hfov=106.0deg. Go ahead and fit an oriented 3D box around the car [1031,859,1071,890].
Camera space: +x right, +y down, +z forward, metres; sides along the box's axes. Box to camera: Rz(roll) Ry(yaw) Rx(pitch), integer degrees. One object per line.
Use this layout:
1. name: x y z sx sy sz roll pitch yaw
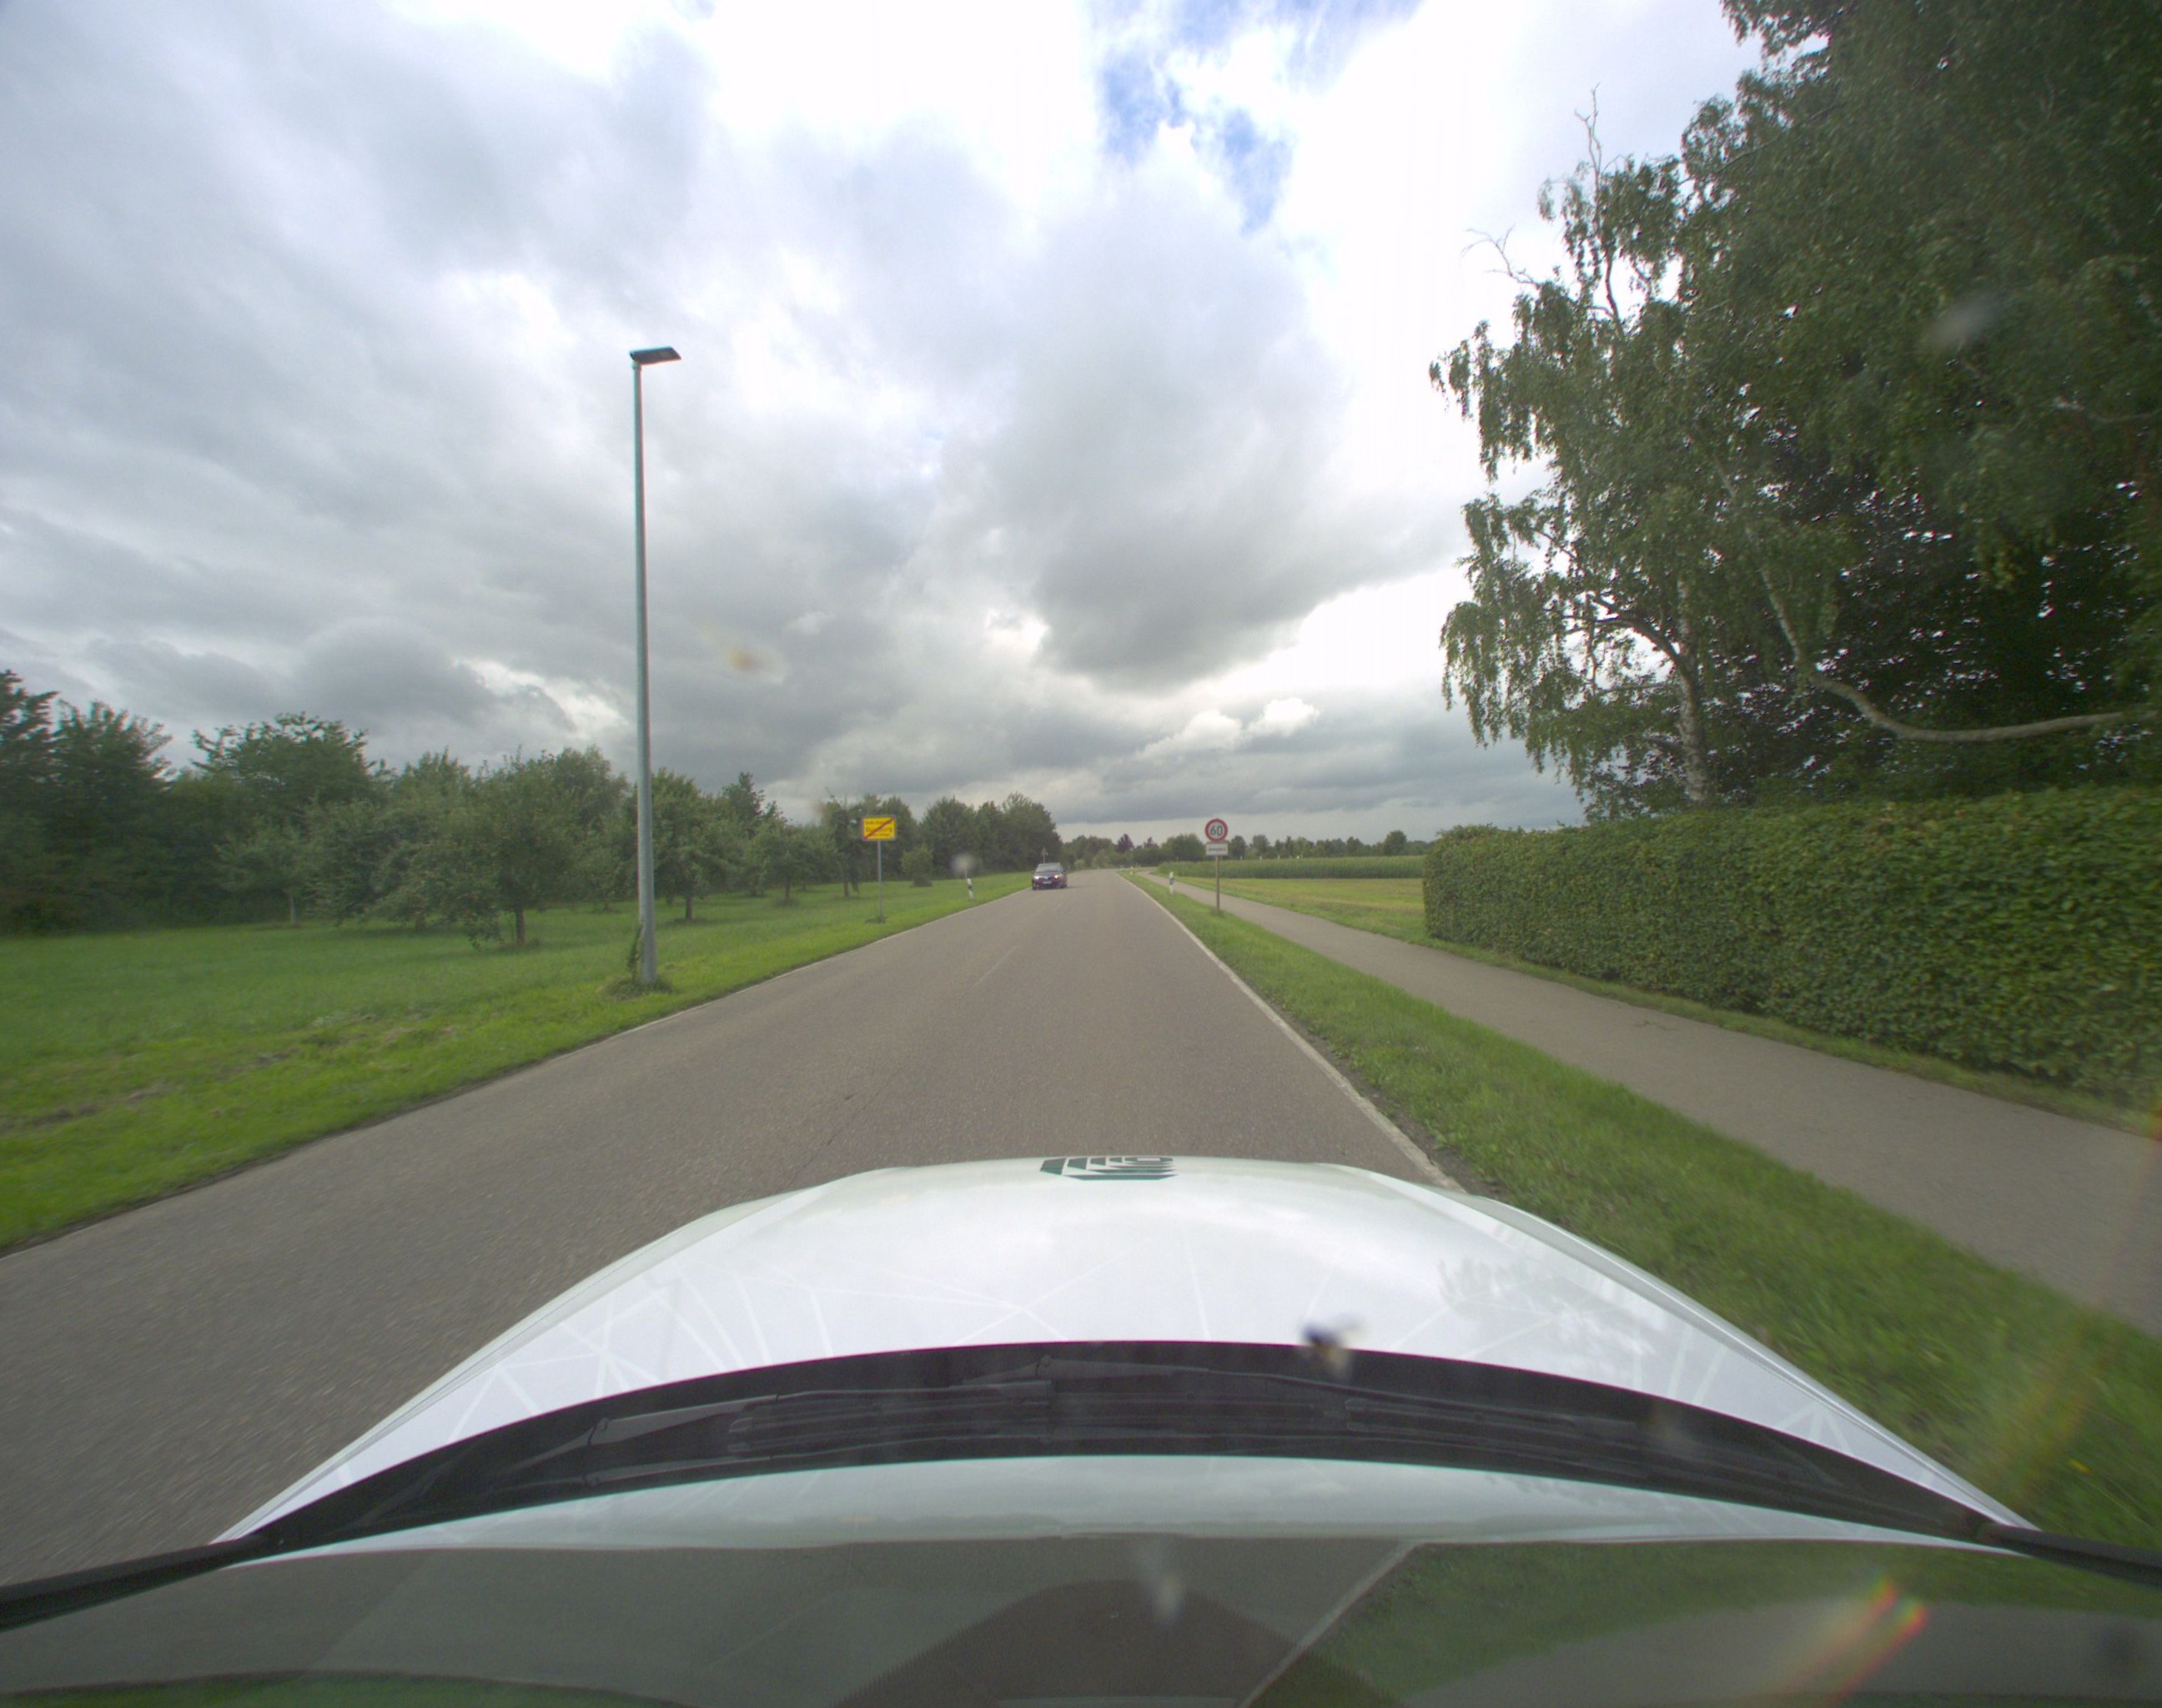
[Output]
1. car: -1.633 1.112 45.850 1.857 1.552 4.183 -3 -1 2
